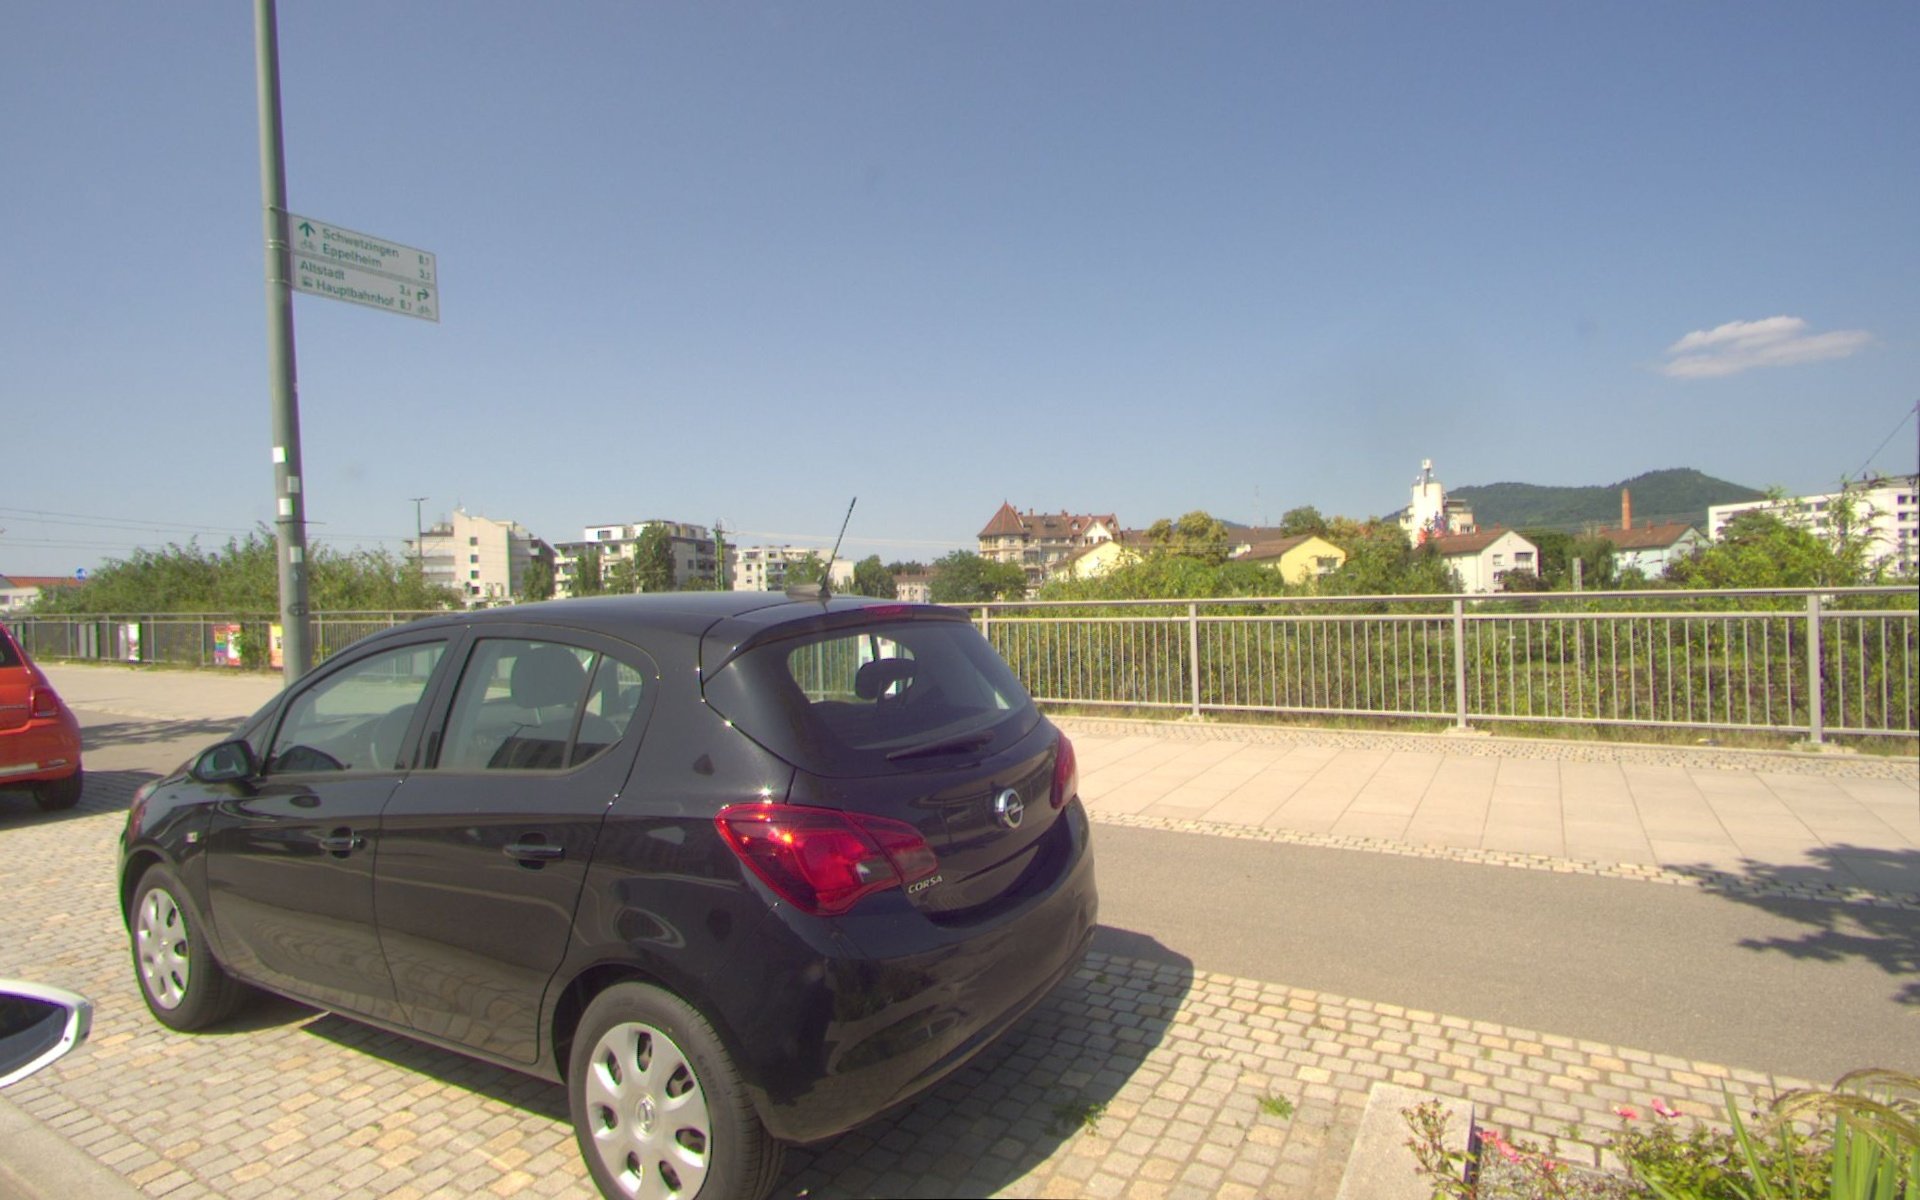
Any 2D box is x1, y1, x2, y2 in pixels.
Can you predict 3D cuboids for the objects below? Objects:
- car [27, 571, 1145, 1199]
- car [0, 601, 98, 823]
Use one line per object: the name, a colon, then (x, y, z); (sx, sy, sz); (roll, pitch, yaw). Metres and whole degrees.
car: (-1.513, 0.695, 3.583); (3.942, 1.445, 1.657); (-1, 1, 32)
car: (-8.168, 0.806, 7.587); (3.305, 1.517, 1.605); (-1, 2, 34)
